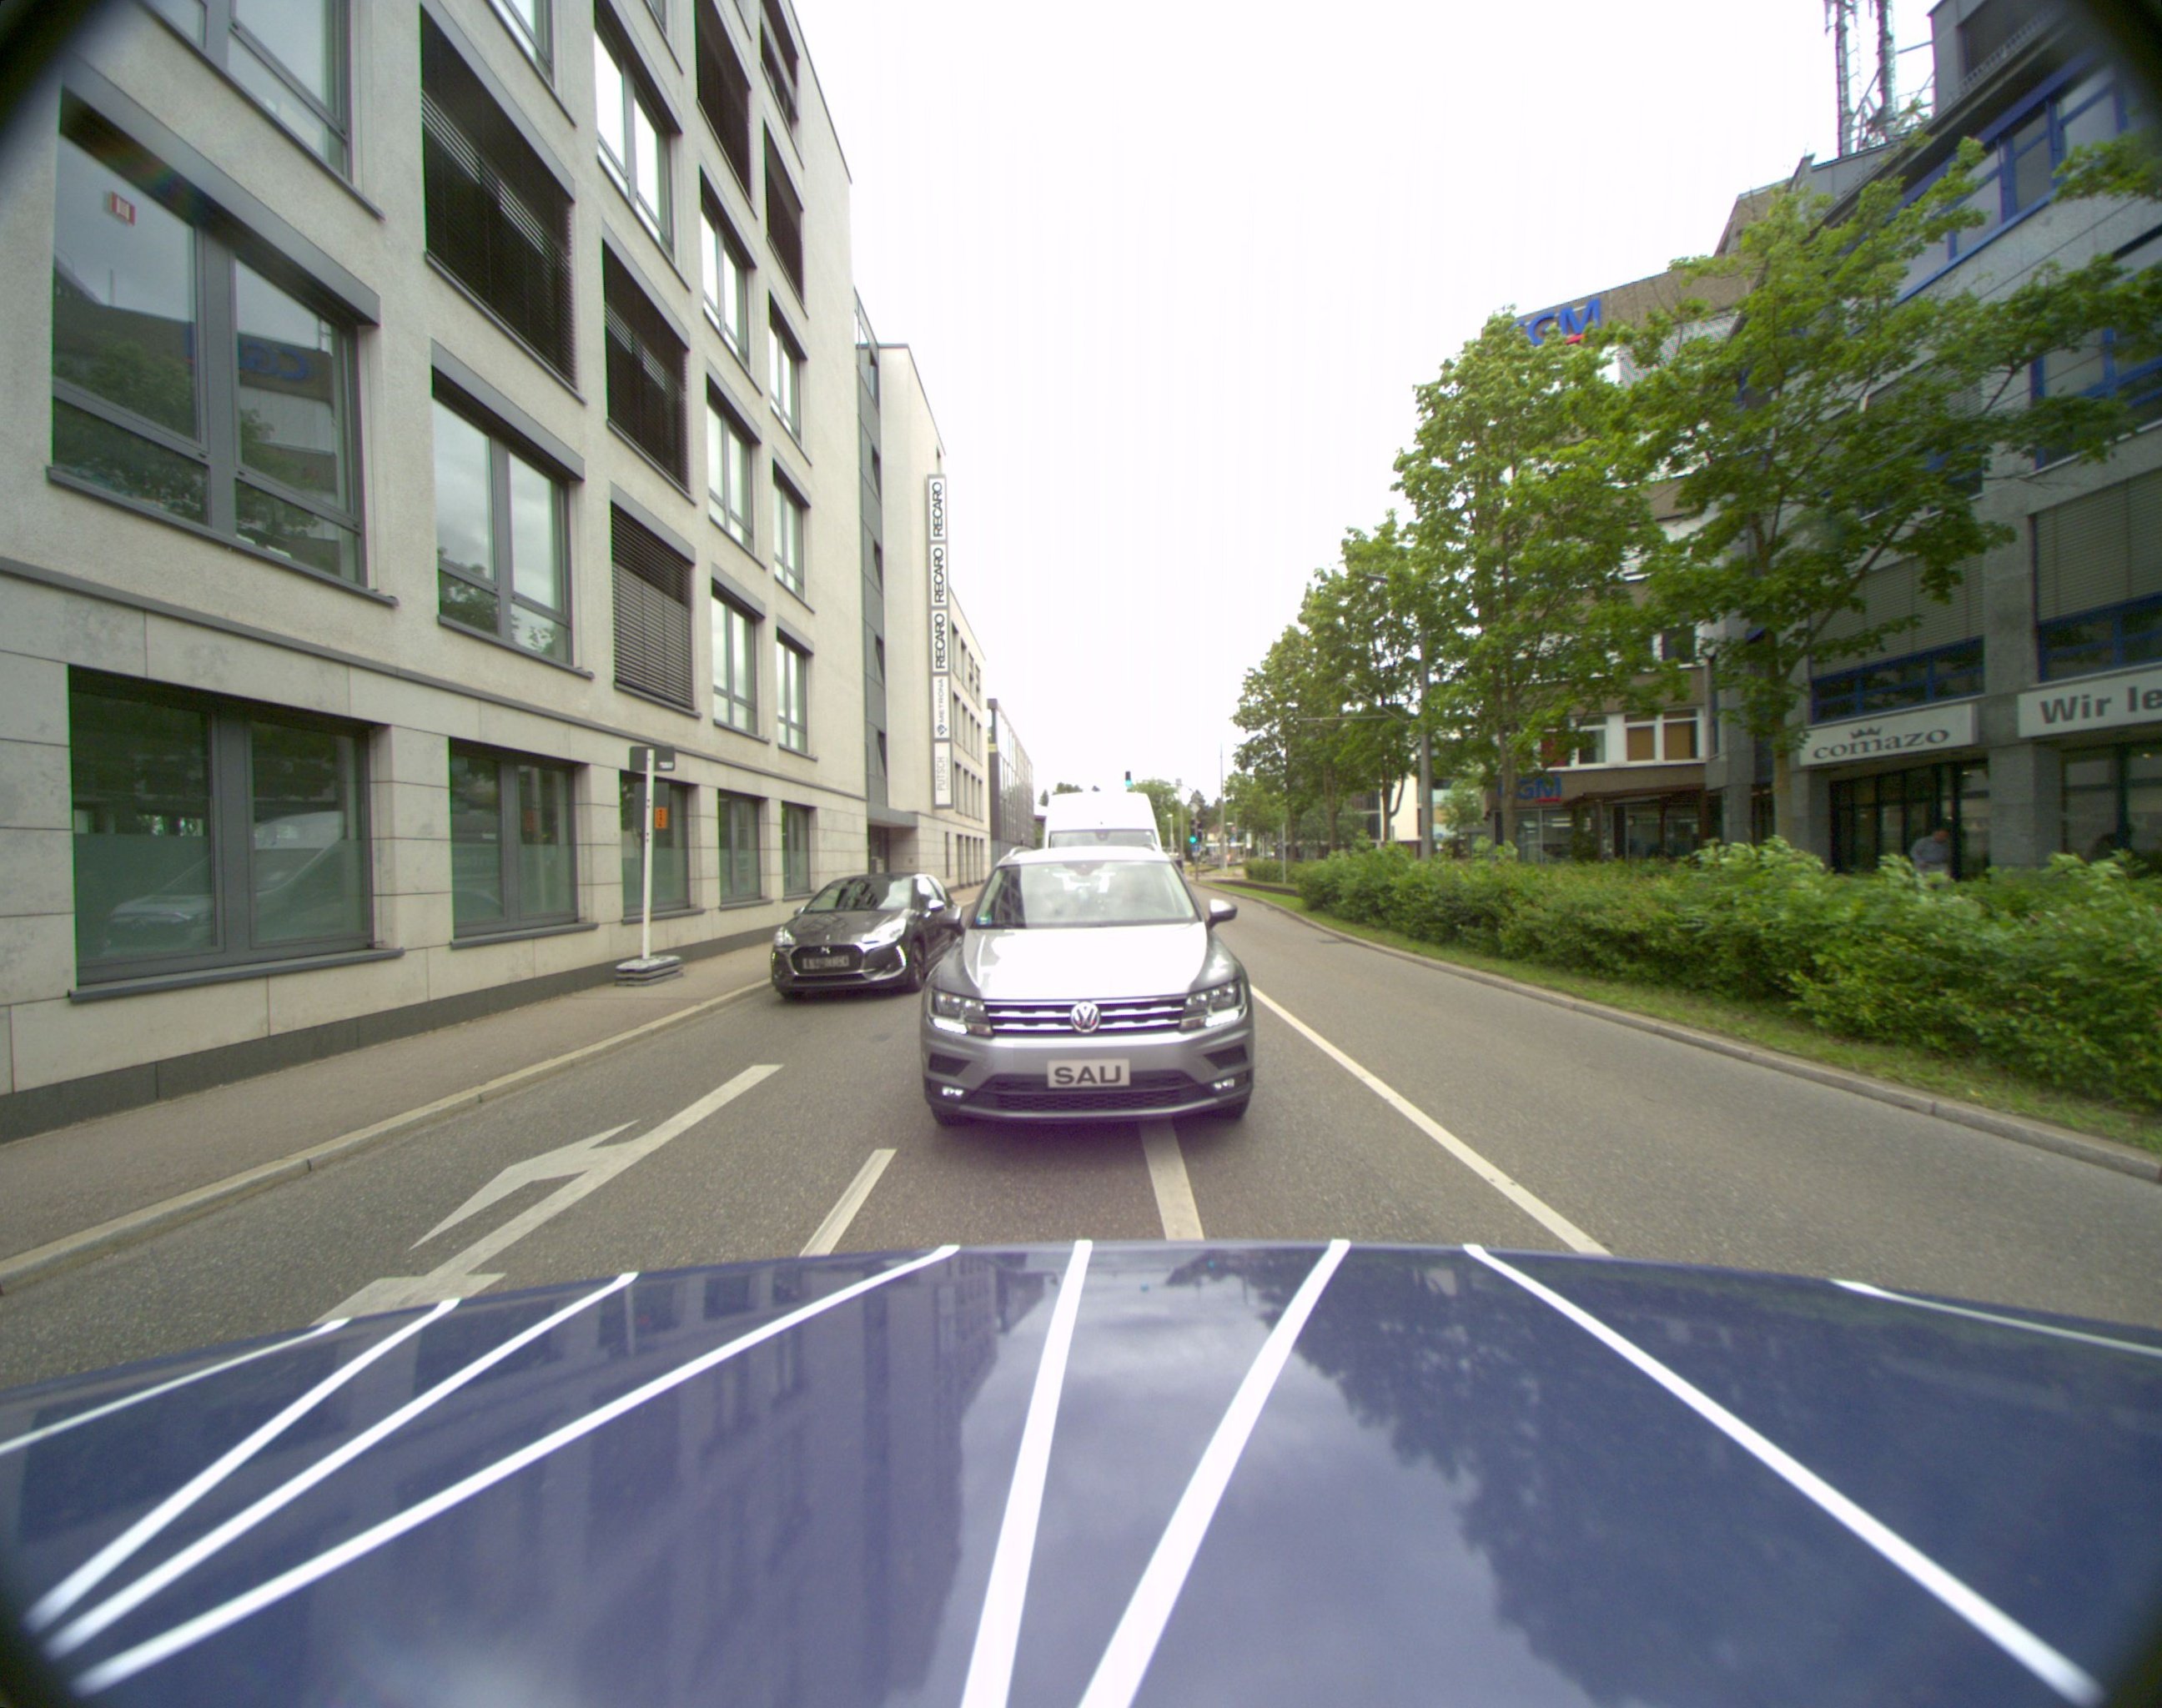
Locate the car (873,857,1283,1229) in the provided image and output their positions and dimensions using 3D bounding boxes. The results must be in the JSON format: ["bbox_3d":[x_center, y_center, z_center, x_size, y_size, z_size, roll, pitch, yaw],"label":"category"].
[{"bbox_3d":[0.014,0.897,5.718,1.833,1.636,4.326,-3,0,1],"label":"car"}]

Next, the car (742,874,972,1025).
[{"bbox_3d":[-2.747,1.106,10.339,1.705,1.452,4.063,-3,0,2],"label":"car"}]

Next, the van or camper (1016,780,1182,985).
[{"bbox_3d":[0.300,0.387,13.432,2.110,2.674,6.299,-3,0,1],"label":"van or camper"}]

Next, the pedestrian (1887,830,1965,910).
[{"bbox_3d":[16.377,0.308,14.734,0.699,1.474,0.679,-3,0,1],"label":"pedestrian"}]

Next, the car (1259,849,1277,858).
[{"bbox_3d":[44.359,-0.058,180.193,4.006,1.888,1.995,-3,1,-34],"label":"car"}]

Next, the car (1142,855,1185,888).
[{"bbox_3d":[4.118,0.838,38.562,1.754,1.579,4.135,0,0,1],"label":"car"}]
